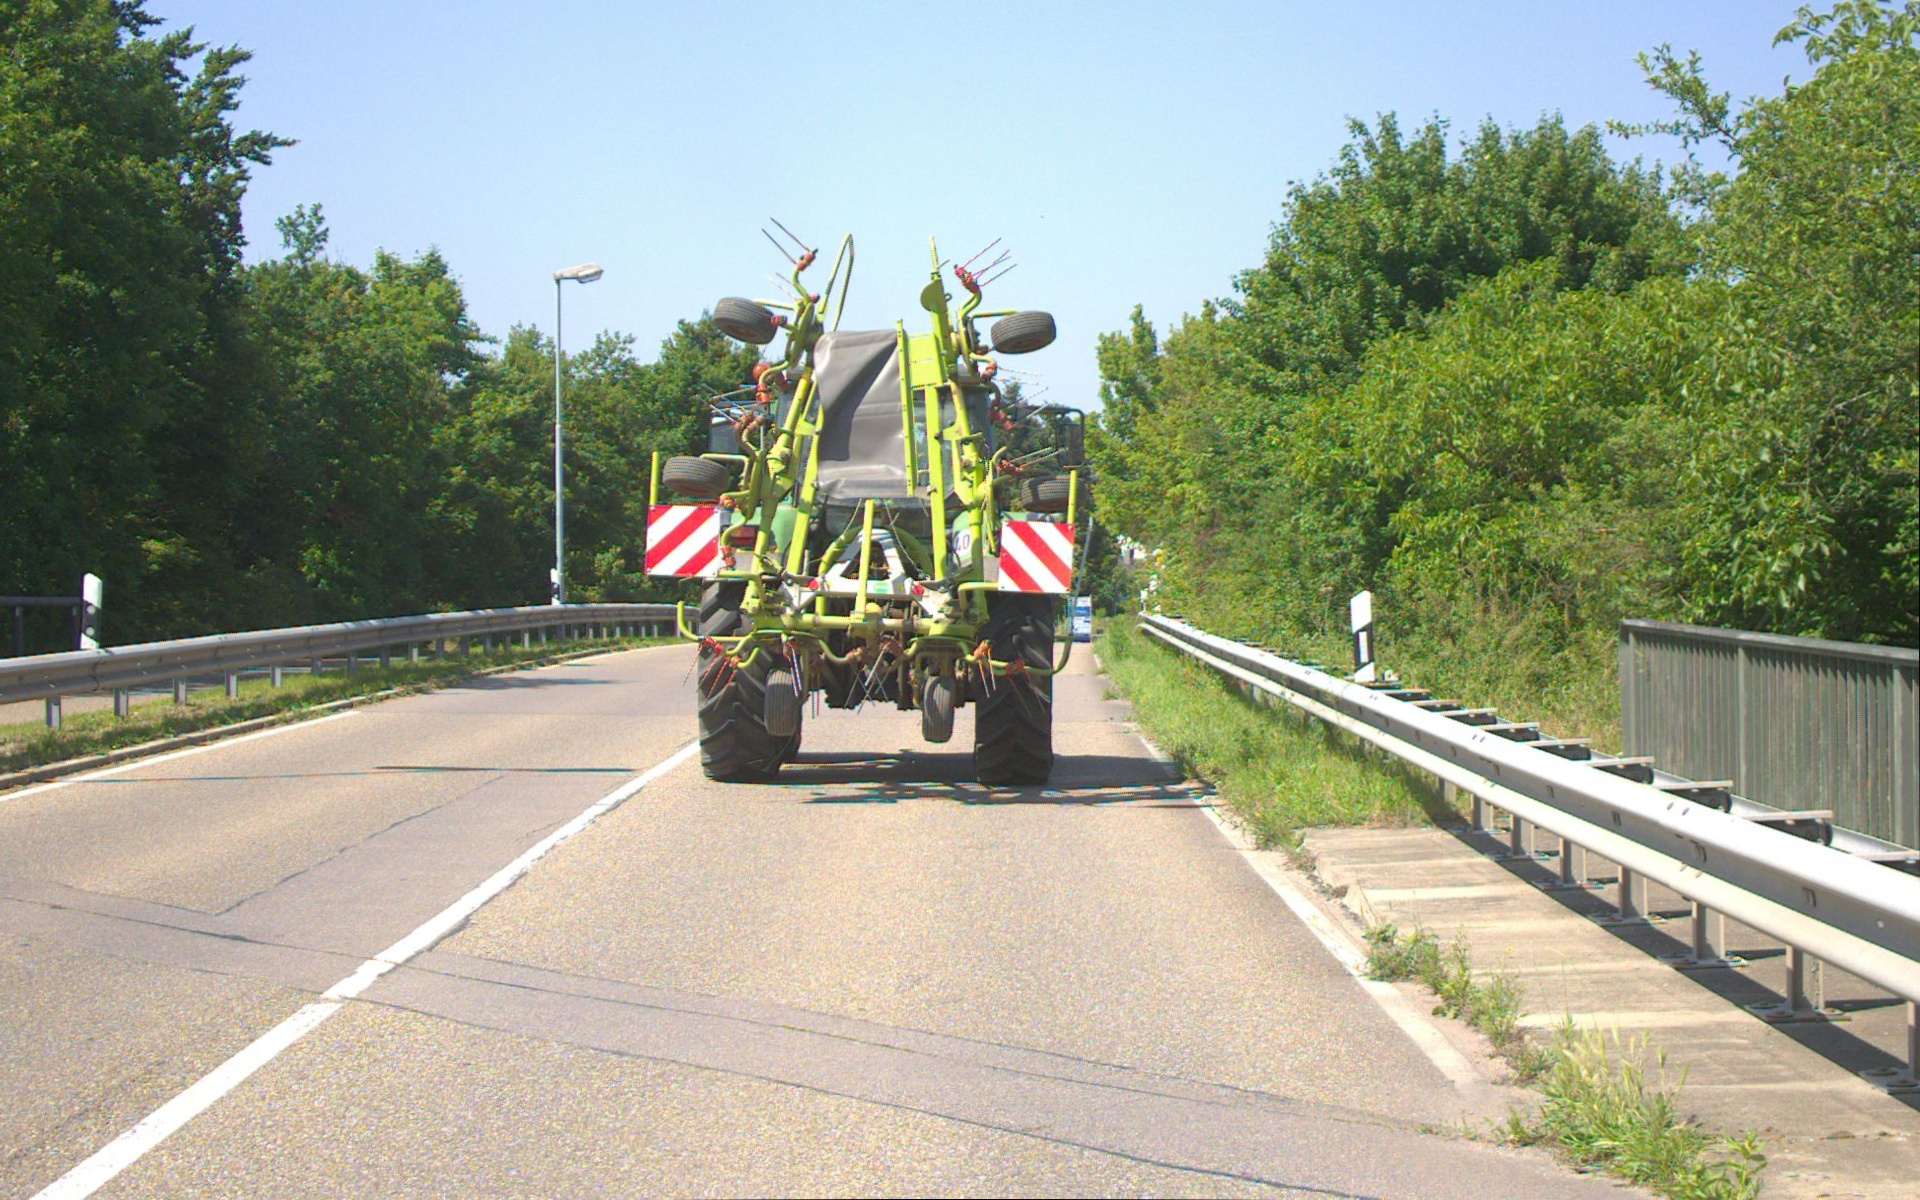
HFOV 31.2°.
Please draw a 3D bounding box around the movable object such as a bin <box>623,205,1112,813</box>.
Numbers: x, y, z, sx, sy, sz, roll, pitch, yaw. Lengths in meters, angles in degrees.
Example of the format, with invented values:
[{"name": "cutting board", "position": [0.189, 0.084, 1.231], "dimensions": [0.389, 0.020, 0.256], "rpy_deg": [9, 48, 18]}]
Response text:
[{"name": "movable object such as a bin", "position": [-0.494, -0.584, 22.425], "dimensions": [2.755, 3.432, 5.670], "rpy_deg": [1, 1, 1]}]
